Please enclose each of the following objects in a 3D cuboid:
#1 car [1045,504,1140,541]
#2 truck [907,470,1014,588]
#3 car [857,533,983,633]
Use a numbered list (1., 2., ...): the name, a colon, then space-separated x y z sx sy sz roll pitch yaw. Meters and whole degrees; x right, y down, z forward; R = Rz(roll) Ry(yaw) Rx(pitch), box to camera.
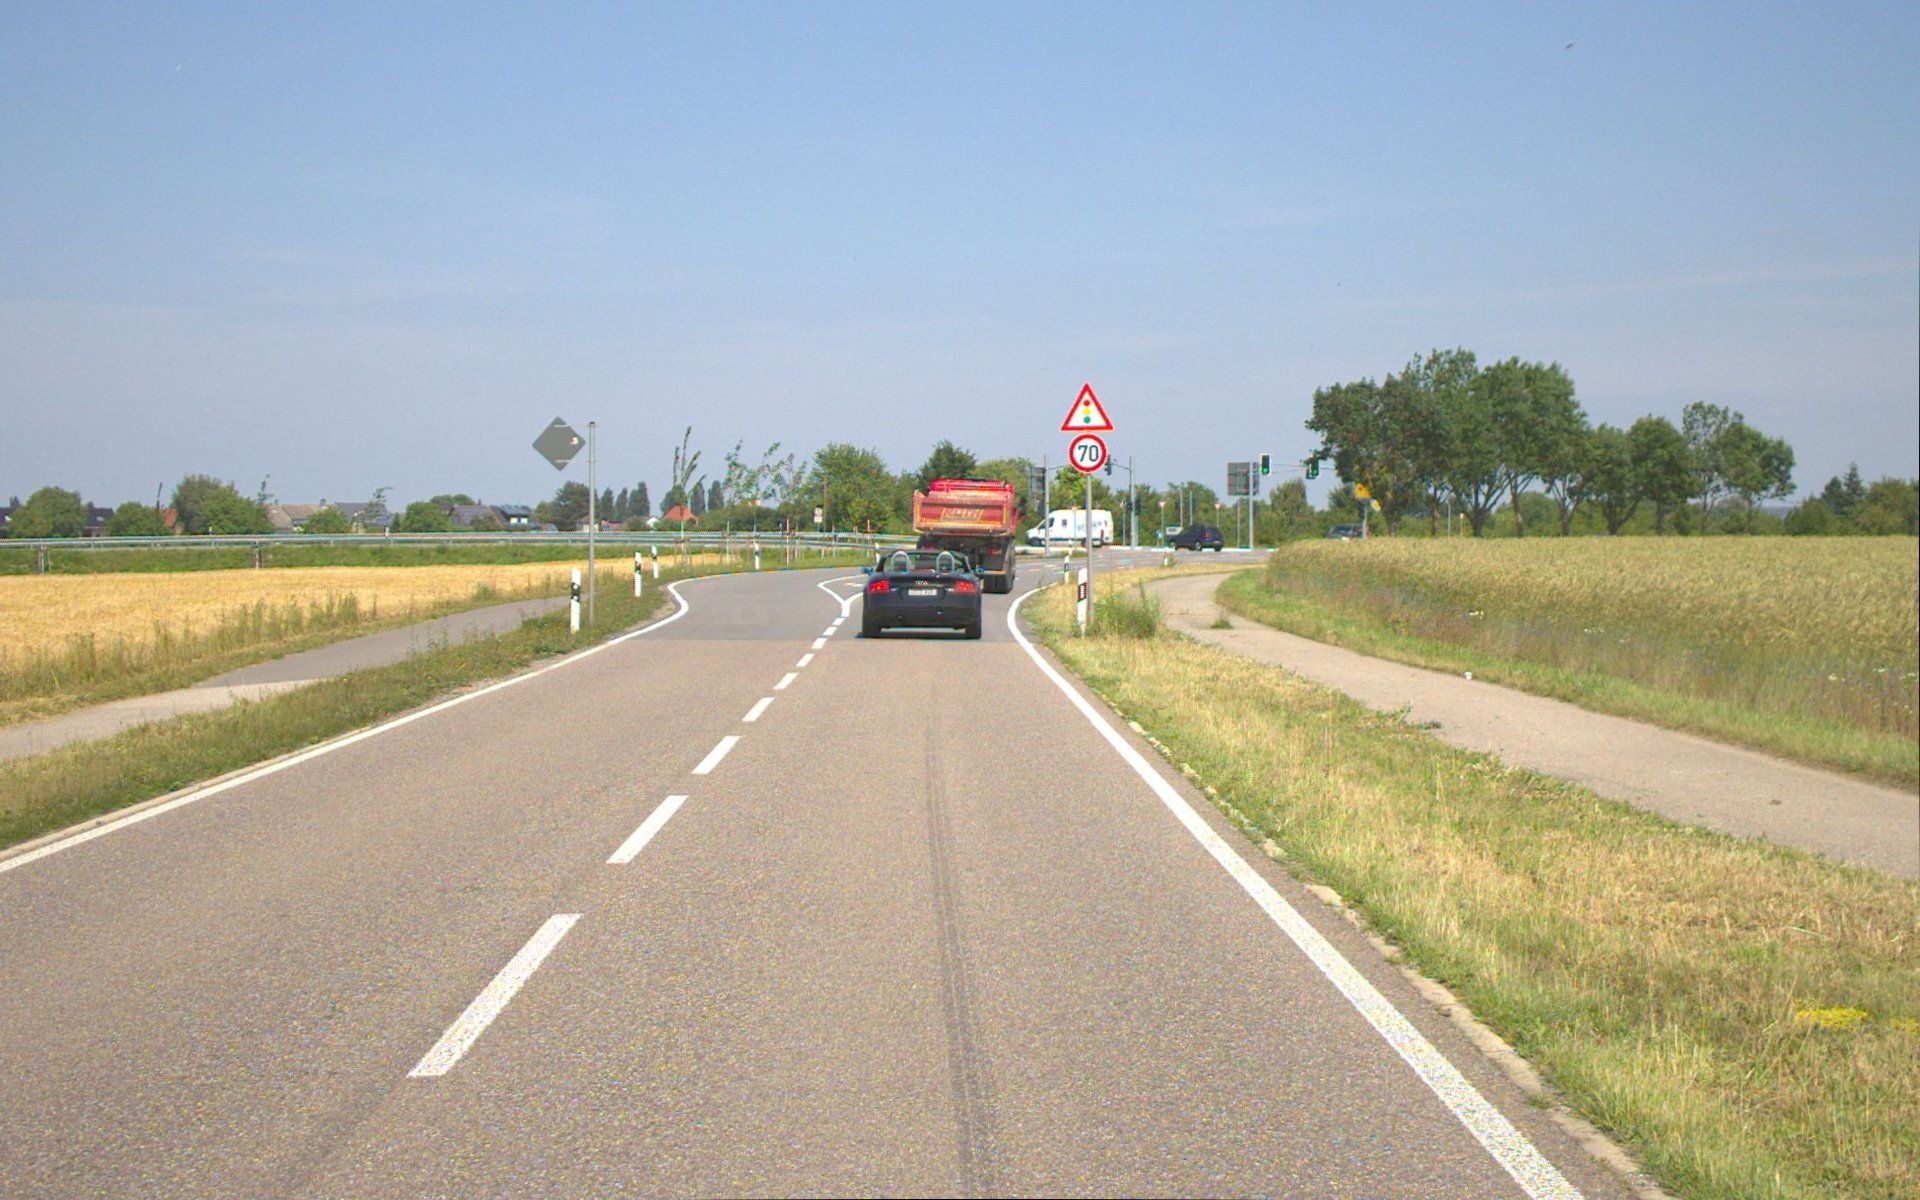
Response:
1. car: 8.762 -5.144 228.088 5.928 2.413 2.244 2 2 30
2. truck: -0.035 -1.868 93.664 2.714 3.042 8.165 1 0 -1
3. car: -0.591 -0.254 50.925 1.747 1.371 3.679 2 0 -1
